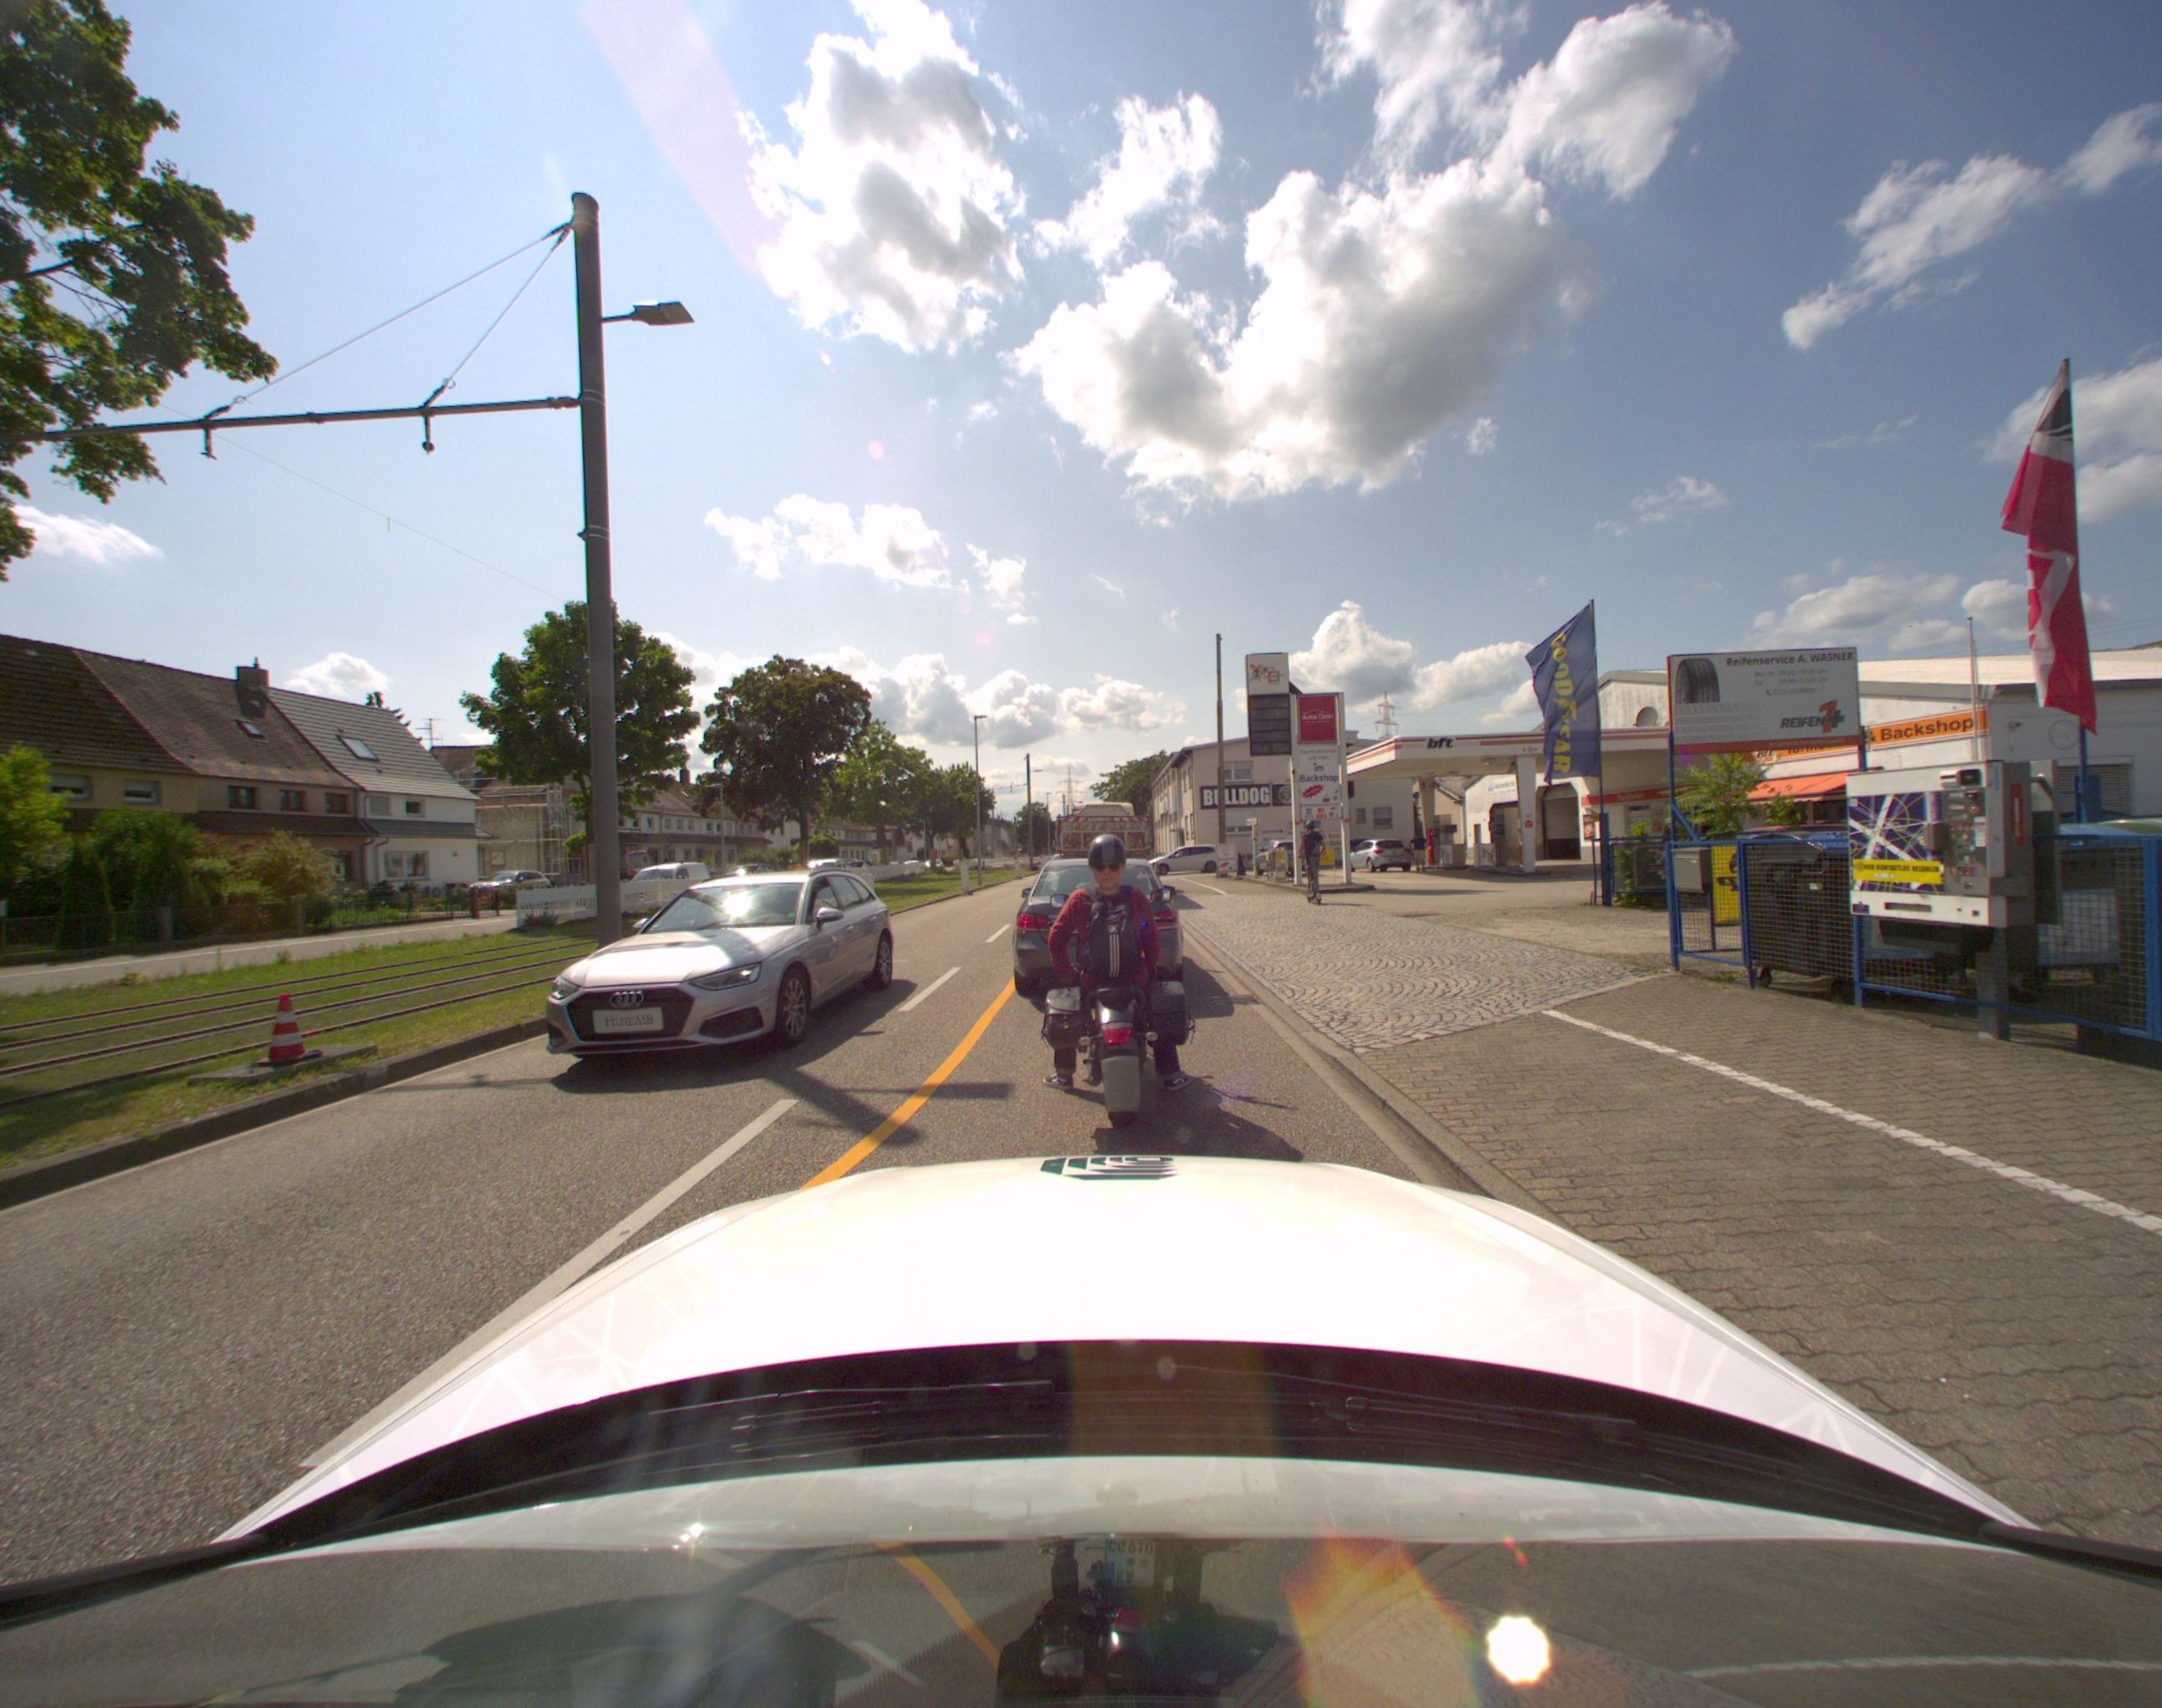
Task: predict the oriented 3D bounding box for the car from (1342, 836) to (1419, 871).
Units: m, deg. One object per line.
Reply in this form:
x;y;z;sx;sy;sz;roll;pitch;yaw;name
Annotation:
13.566;0.001;37.105;1.953;1.420;3.999;-3;-1;0;car

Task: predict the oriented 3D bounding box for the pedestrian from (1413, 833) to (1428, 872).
14.786;-0.074;35.470;0.395;1.689;0.486;-3;-1;3;pedestrian

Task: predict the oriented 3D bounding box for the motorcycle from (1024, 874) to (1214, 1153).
0.230;0.823;5.366;0.936;1.320;2.646;0;0;2;motorcycle

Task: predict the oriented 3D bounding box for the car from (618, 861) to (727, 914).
-15.448;1.214;31.068;1.986;1.750;4.001;-3;-1;2;car

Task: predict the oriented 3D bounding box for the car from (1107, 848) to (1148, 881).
2.190;0.455;39.018;1.814;1.464;4.002;-2;0;2;car

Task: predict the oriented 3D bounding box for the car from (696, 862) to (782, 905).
-15.261;1.273;36.602;1.986;1.750;4.001;-3;-1;2;car

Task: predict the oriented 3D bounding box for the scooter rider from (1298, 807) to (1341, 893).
5.585;-0.087;19.127;0.714;1.963;0.785;-2;-1;1;scooter rider

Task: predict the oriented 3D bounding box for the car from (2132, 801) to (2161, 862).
26.370;-0.618;17.988;3.992;1.388;1.613;-3;-1;3;car

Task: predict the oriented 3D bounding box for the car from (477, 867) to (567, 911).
-24.395;1.500;35.669;1.678;1.722;3.031;-3;-1;2;car

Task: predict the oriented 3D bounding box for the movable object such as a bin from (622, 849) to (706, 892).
-26.075;1.021;51.078;4.351;2.449;1.776;-3;0;-21;movable object such as a bin

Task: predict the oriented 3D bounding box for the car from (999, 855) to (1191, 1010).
0.197;0.761;9.844;1.815;1.424;4.002;-2;0;2;car

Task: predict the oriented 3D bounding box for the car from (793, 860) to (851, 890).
-15.193;1.186;47.984;1.986;1.606;4.001;-3;-1;2;car

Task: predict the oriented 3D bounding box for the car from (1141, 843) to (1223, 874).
5.805;0.279;47.219;4.326;1.551;1.945;-3;-1;-7;car

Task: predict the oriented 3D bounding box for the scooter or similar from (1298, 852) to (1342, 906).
5.562;0.567;19.026;0.538;1.195;1.611;-3;-1;1;scooter or similar

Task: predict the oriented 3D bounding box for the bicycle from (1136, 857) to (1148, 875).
4.939;0.968;65.822;0.688;1.361;2.426;-3;0;11;bicycle

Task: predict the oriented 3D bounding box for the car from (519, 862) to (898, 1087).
-3.140;0.876;7.962;1.649;1.447;4.302;-3;0;0;car

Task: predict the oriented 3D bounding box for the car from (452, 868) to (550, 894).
-27.449;1.267;38.724;1.678;1.052;3.982;-3;-1;2;car

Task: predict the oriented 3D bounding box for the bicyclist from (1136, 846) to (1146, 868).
4.823;0.202;65.715;0.668;1.744;0.814;-2;0;2;bicyclist

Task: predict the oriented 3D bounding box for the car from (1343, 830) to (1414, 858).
19.732;-0.640;54.098;3.973;1.648;1.966;-3;-1;1;car

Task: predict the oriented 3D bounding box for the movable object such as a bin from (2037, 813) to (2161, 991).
9.449;0.370;7.006;1.318;1.444;0.953;-3;-1;-6;movable object such as a bin

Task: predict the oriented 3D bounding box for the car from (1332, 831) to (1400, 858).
19.805;-0.644;56.643;3.973;1.648;1.966;-3;-1;1;car

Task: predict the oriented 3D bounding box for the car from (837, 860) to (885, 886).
-14.960;1.239;55.629;1.986;1.606;4.001;-3;-1;2;car

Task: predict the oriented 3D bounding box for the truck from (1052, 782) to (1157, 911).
0.815;-0.213;26.179;2.600;3.256;9.187;-3;0;2;truck

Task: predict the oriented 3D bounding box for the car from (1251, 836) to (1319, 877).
9.049;0.113;36.477;1.953;1.648;3.999;-3;-1;0;car

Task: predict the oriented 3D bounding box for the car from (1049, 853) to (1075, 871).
-1.590;0.670;69.910;1.839;1.386;4.347;-3;-1;2;car

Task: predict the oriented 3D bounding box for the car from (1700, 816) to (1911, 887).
16.457;-0.049;18.614;3.308;1.360;1.612;-3;-1;1;car

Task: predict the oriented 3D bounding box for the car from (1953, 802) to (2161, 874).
21.861;-0.355;17.935;3.483;1.360;1.612;-3;-1;1;car

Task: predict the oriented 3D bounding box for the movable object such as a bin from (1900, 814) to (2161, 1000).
8.127;0.431;7.005;1.251;1.444;0.824;-3;-1;2;movable object such as a bin

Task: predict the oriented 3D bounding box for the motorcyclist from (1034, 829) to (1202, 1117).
0.226;0.670;5.186;0.936;1.615;1.205;0;0;1;motorcyclist

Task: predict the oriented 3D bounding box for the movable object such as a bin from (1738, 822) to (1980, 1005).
6.761;0.494;7.142;1.251;1.444;0.824;-3;-1;2;movable object such as a bin
